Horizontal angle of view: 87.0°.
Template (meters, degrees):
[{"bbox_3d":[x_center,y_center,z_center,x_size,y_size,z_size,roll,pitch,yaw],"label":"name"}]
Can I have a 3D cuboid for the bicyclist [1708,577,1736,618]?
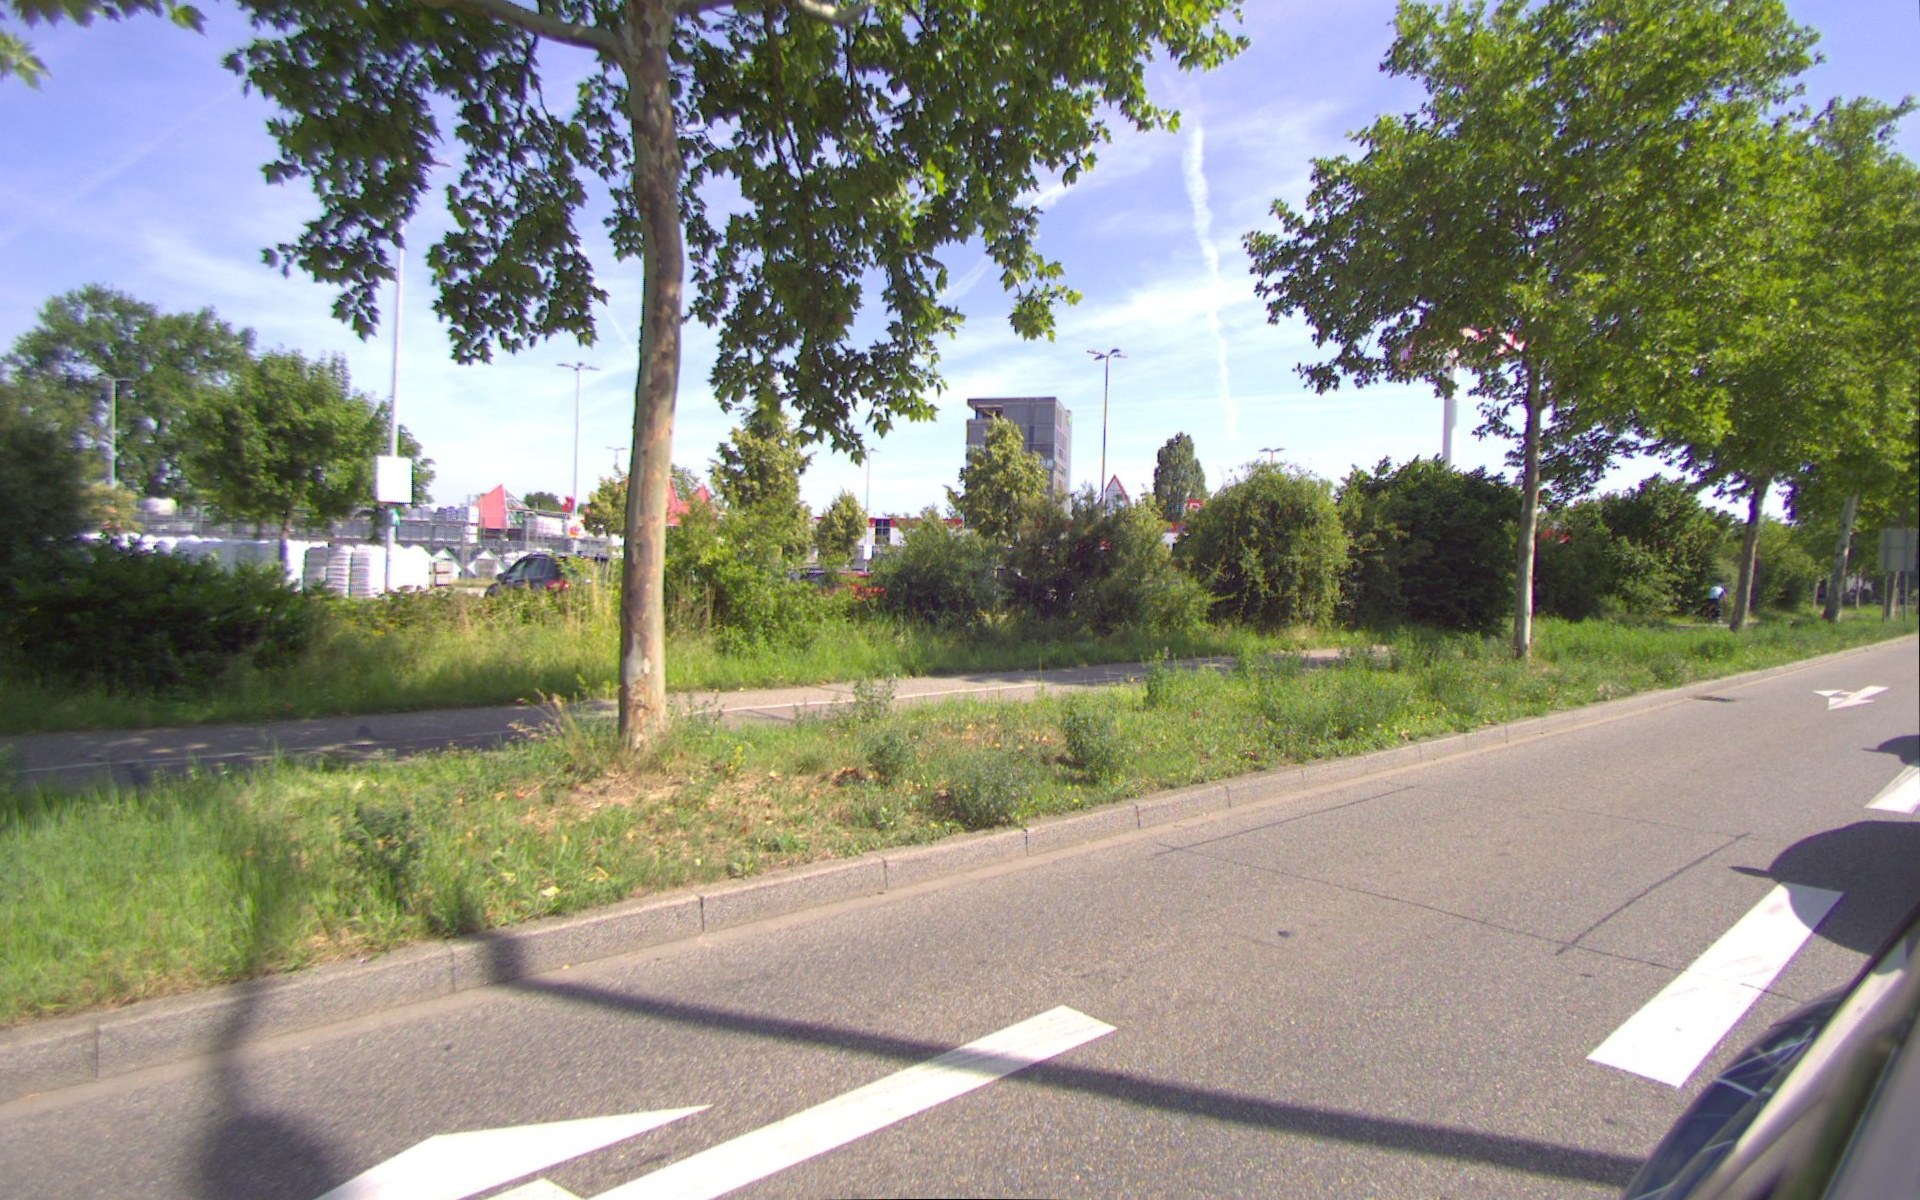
[{"bbox_3d":[31.322,-0.106,41.604,0.984,1.651,0.686,0,2,-41],"label":"bicyclist"}]

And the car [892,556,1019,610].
[{"bbox_3d":[-0.129,-0.581,32.626,3.801,1.604,1.844,2,2,11],"label":"car"}]

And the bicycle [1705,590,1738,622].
[{"bbox_3d":[31.290,0.236,41.583,1.900,1.252,0.686,0,2,-41],"label":"bicycle"}]

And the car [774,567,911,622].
[{"bbox_3d":[-3.170,-0.186,26.856,3.553,1.316,1.740,3,2,43],"label":"car"}]

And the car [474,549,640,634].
[{"bbox_3d":[-8.577,-0.235,21.394,3.850,1.604,1.821,3,2,43],"label":"car"}]
